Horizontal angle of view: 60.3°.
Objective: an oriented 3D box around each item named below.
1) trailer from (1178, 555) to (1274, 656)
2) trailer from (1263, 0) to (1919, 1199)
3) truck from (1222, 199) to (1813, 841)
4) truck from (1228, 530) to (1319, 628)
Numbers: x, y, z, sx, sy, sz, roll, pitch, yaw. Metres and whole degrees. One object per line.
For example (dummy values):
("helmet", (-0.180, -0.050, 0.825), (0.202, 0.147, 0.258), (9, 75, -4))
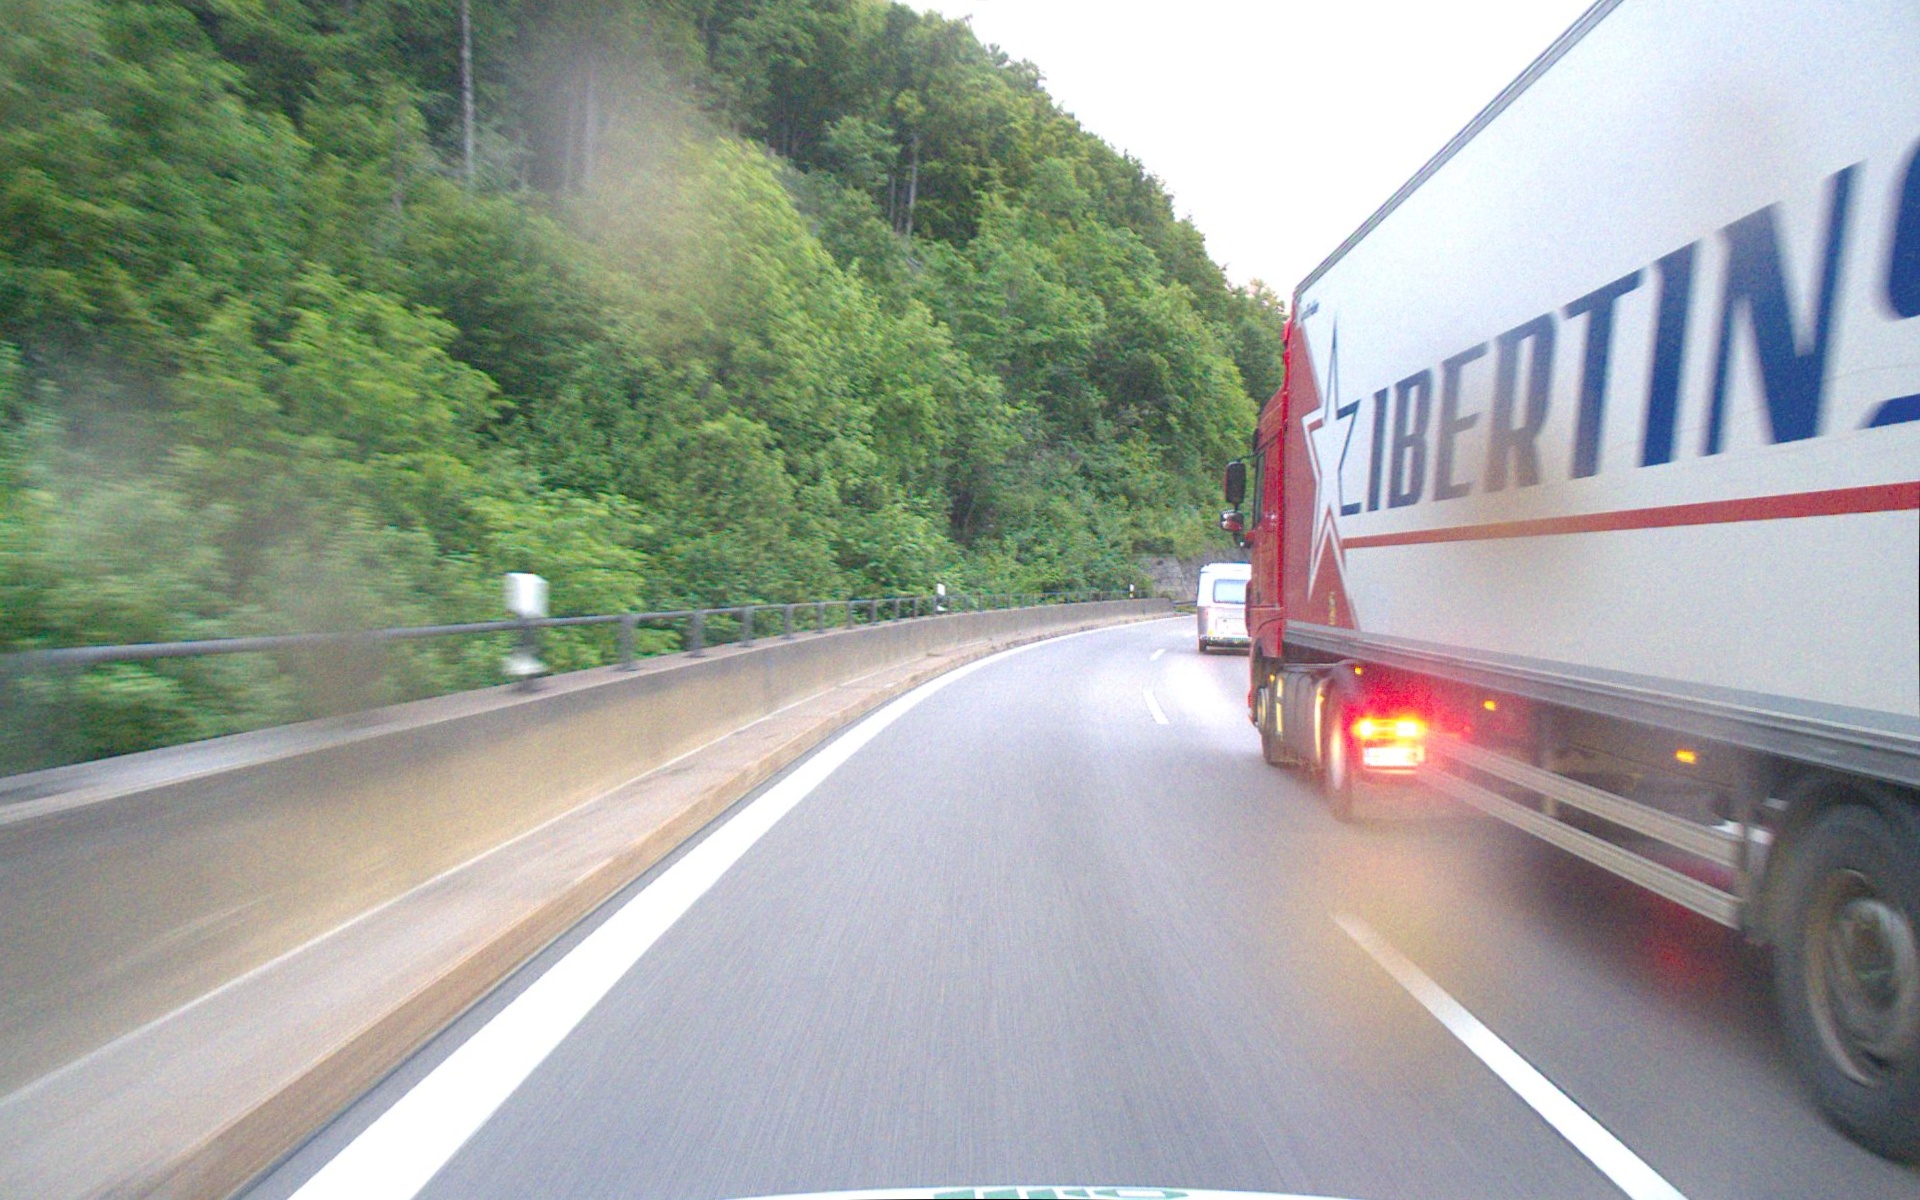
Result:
("trailer", (6.952, 0.087, 43.816), (2.011, 2.416, 5.942), (2, 1, 5))
("trailer", (3.998, -0.483, 7.163), (3.033, 4.039, 14.220), (0, 0, 1))
("truck", (4.246, -0.532, 14.319), (3.006, 4.217, 6.448), (2, 0, 2))
("truck", (15.901, -0.915, 82.756), (3.225, 4.246, 16.515), (-3, -1, 15))
